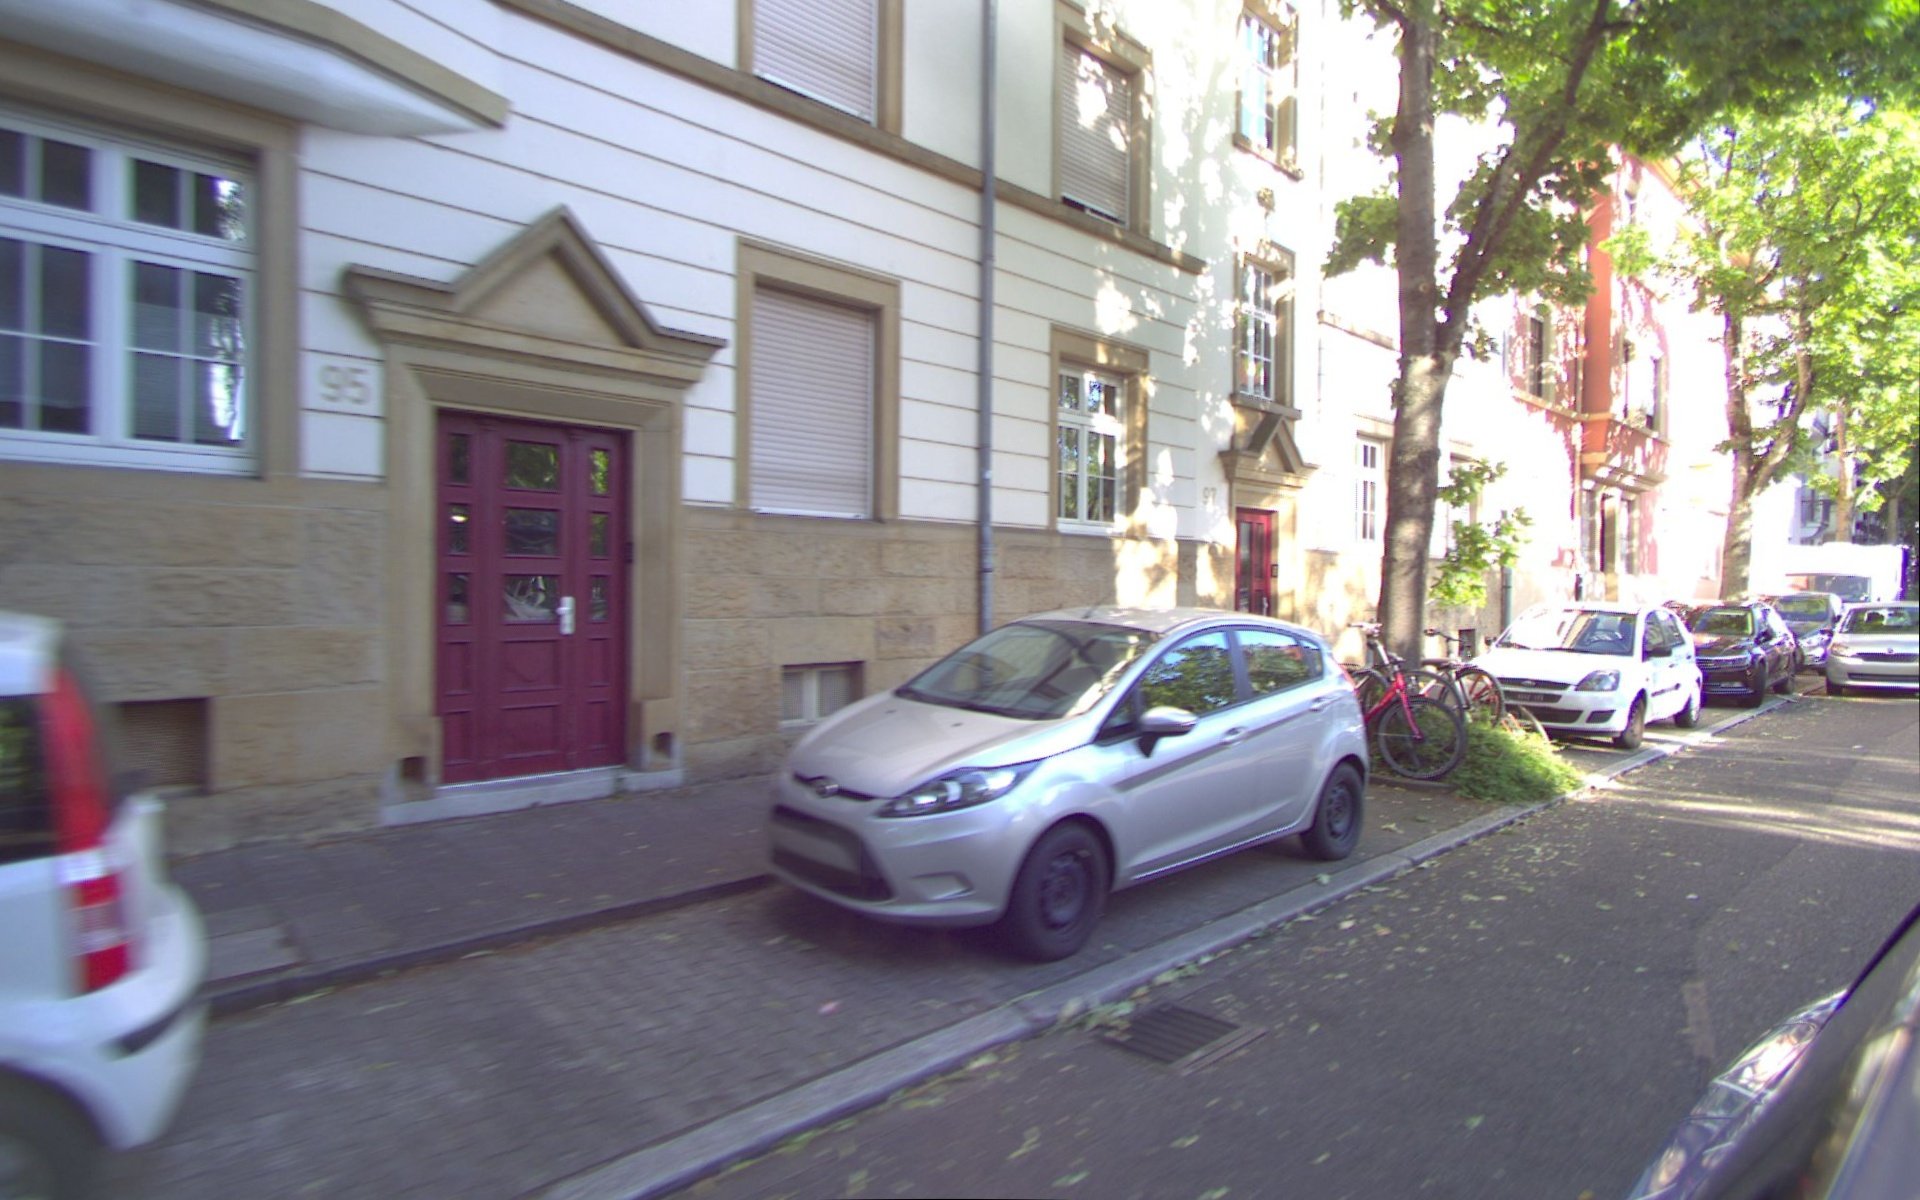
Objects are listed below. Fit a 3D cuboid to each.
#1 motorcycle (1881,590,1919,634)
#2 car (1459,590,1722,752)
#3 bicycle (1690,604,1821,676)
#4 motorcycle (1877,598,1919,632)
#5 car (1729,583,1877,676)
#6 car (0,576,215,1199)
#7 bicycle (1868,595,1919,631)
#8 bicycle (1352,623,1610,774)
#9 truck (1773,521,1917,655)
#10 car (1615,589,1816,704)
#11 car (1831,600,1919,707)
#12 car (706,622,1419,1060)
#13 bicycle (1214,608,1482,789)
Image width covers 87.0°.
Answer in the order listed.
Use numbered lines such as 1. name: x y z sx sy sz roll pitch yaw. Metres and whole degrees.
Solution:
1. motorcycle: 32.769 0.402 35.156 2.101 1.505 0.931 0 0 -42
2. car: 7.272 0.665 11.532 3.684 1.506 1.599 0 2 -42
3. bicycle: 14.851 0.725 18.929 0.559 1.181 1.814 0 3 -43
4. motorcycle: 35.092 0.540 37.362 1.735 1.256 0.701 0 0 9
5. car: 17.824 0.527 21.298 4.862 1.737 1.887 0 1 -44
6. car: -3.452 0.712 1.653 3.483 1.529 1.522 0 1 -42
7. bicycle: 36.449 0.498 39.273 0.576 1.321 1.760 0 1 -43
8. bicycle: 4.638 0.821 9.146 0.589 1.086 1.973 0 3 -41
9. truck: 22.462 -0.326 25.570 6.007 3.005 2.076 0 3 -44
10. car: 11.778 0.607 15.668 4.385 1.533 1.788 0 0 -44
11. car: 15.479 0.791 16.415 3.737 1.564 1.680 0 0 -44
12. car: 0.836 0.908 5.606 4.086 1.411 1.624 0 2 -42
13. bicycle: 3.212 0.745 8.560 0.747 1.244 1.973 0 3 -41
